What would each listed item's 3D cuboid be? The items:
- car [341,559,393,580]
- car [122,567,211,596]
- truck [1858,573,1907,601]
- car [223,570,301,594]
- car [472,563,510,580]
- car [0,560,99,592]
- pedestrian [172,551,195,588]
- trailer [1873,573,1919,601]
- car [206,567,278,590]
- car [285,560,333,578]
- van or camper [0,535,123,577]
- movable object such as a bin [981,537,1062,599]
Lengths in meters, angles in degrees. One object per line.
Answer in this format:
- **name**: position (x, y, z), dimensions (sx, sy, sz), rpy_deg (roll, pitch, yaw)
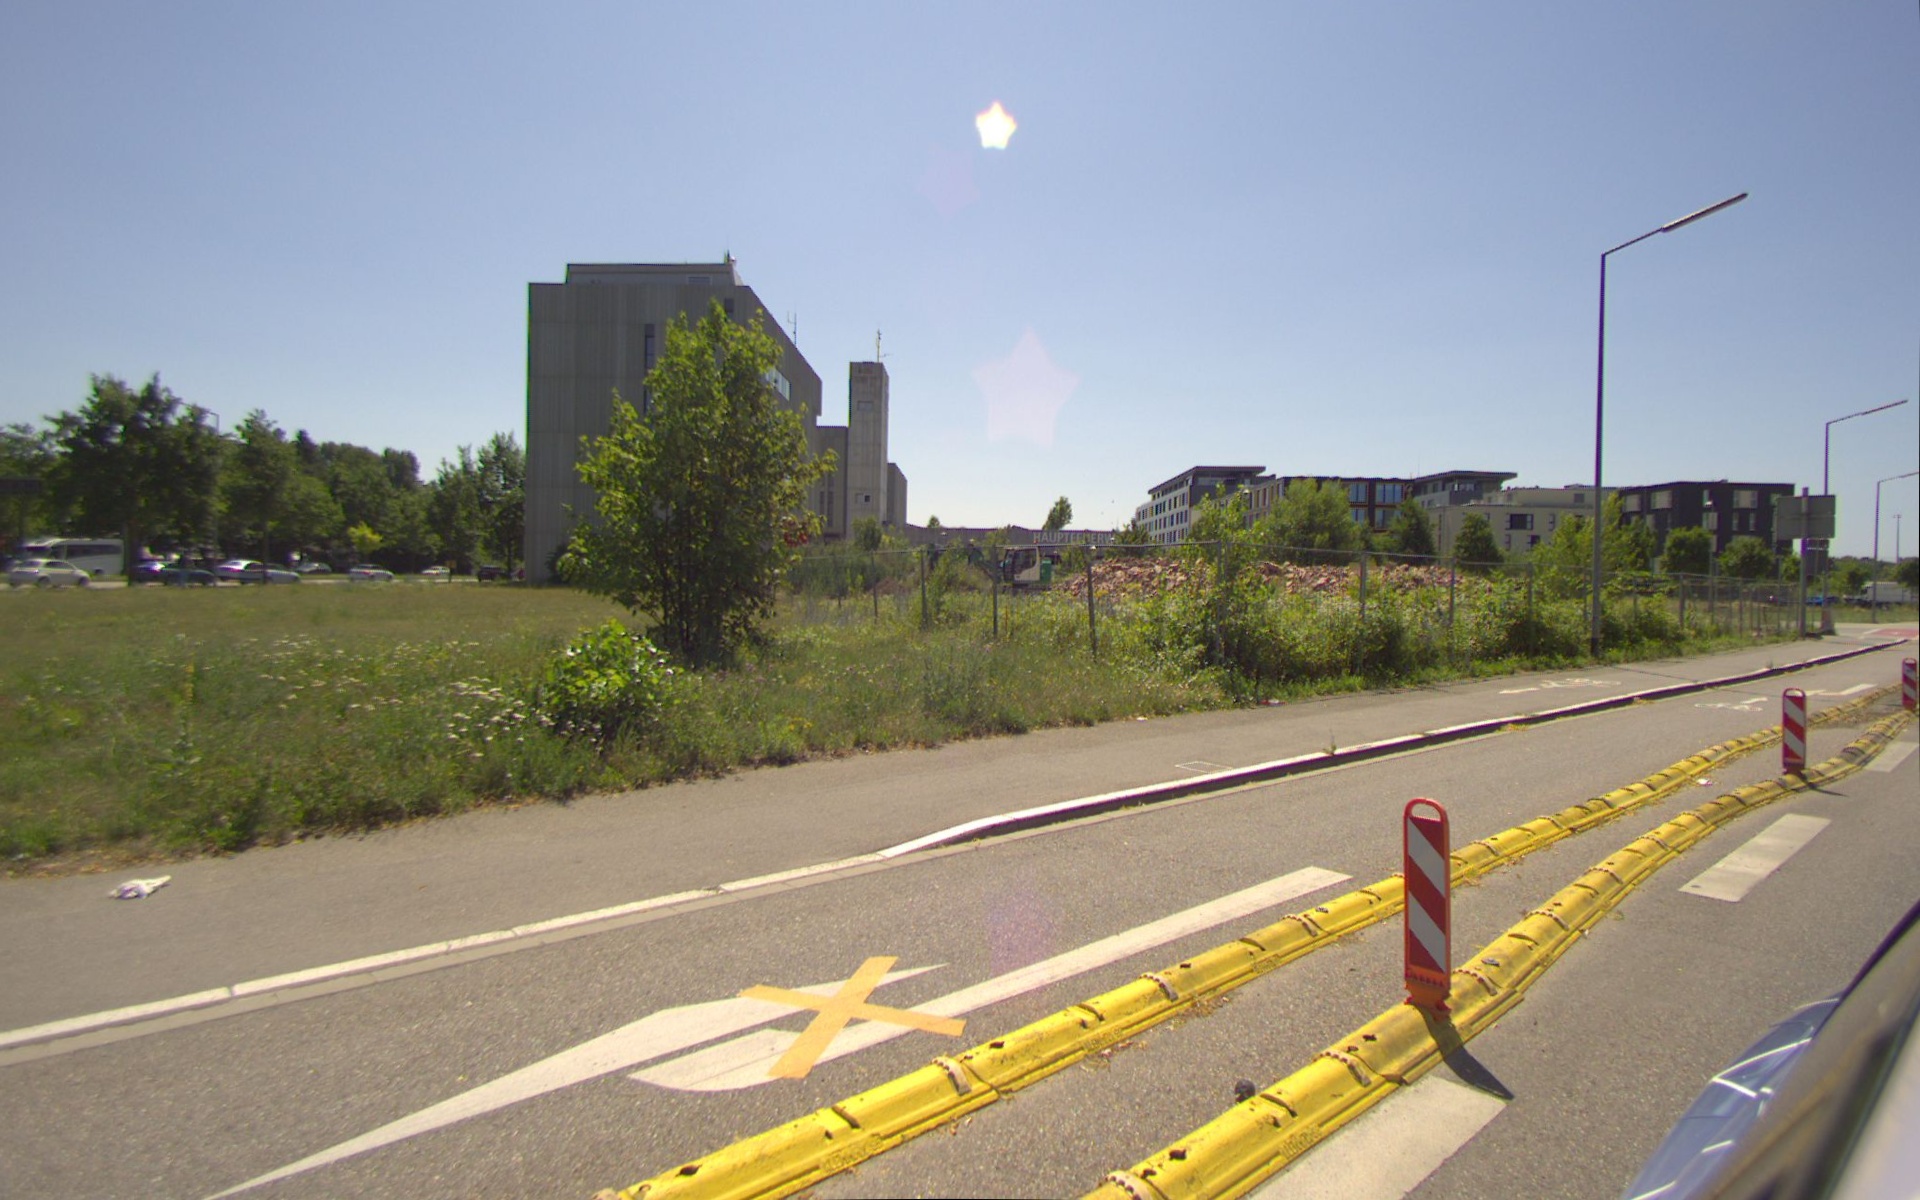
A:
- **car**: position (-46.904, -2.417, 80.079), dimensions (1.708, 1.571, 3.999), rpy_deg (0, 1, 1)
- **car**: position (-47.235, -1.094, 60.379), dimensions (1.709, 1.572, 4.404), rpy_deg (0, -1, 3)
- **truck**: position (114.108, -1.650, 125.201), dimensions (3.928, 3.377, 1.998), rpy_deg (1, 1, 4)
- **car**: position (-44.487, -1.146, 64.587), dimensions (1.965, 1.523, 4.069), rpy_deg (0, 1, 6)
- **car**: position (-44.045, -2.634, 95.134), dimensions (1.708, 1.571, 3.999), rpy_deg (0, 1, 1)
- **car**: position (-47.238, -1.222, 52.527), dimensions (1.708, 1.571, 3.999), rpy_deg (0, 1, 1)
- **pedestrian**: position (-36.334, -1.406, 47.368), dimensions (0.489, 1.712, 0.737), rpy_deg (0, 0, -1)
- **trailer**: position (117.904, -1.533, 124.904), dimensions (8.030, 3.390, 1.998), rpy_deg (1, 1, 4)
- **car**: position (-49.864, -1.490, 70.412), dimensions (1.708, 1.571, 4.641), rpy_deg (0, 1, 1)
- **car**: position (-59.378, -2.817, 92.399), dimensions (1.708, 1.571, 3.999), rpy_deg (0, 1, 1)
- **van or camper**: position (-63.308, -3.046, 71.436), dimensions (2.465, 2.727, 7.516), rpy_deg (0, 1, -2)
- **movable object such as a bin**: position (3.186, -1.636, 52.434), dimensions (3.619, 3.101, 2.207), rpy_deg (0, 1, -35)
